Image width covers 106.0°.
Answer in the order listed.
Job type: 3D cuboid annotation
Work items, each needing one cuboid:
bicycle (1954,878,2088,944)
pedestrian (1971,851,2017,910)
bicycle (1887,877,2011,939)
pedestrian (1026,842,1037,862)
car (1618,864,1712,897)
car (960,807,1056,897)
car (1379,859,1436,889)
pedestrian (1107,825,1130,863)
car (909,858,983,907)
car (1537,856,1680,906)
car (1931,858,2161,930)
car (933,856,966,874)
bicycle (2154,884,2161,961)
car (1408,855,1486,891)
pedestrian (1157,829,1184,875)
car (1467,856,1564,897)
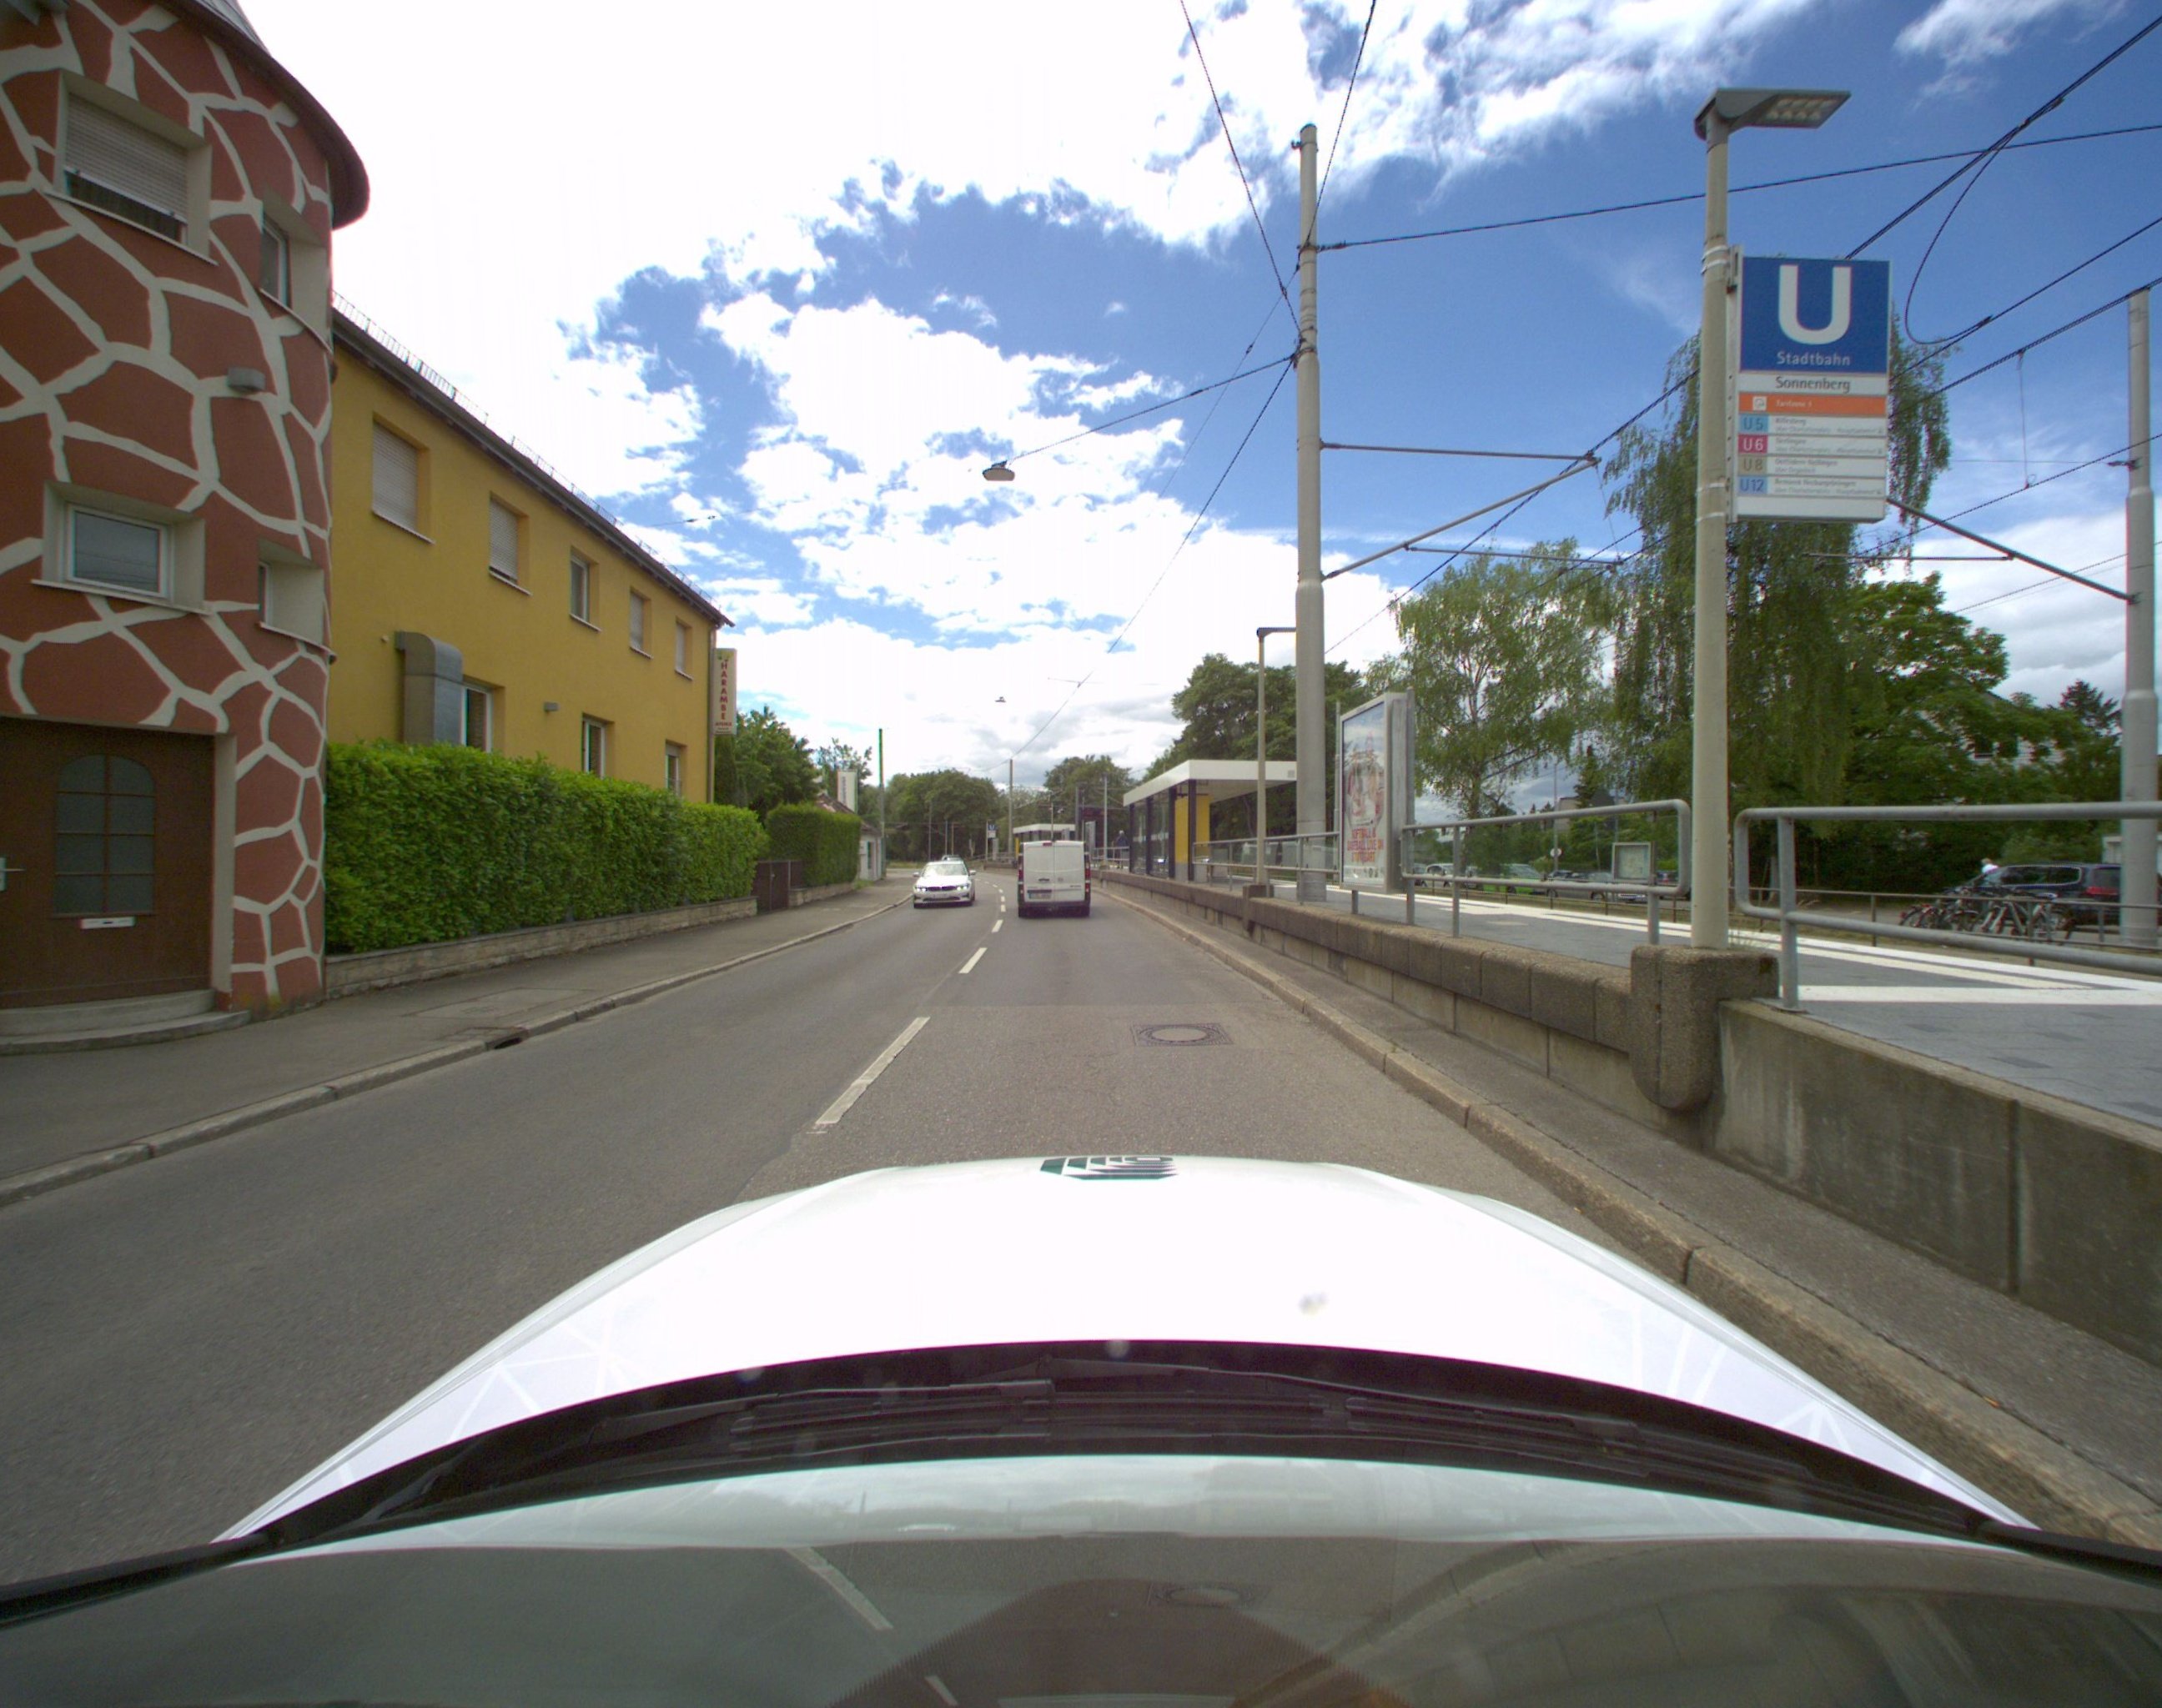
[{"bbox_3d":[15.496,0.933,13.439,1.763,1.042,0.556,1,-1,-6],"label":"bicycle"},{"bbox_3d":[28.111,0.796,25.092,0.817,1.771,0.688,0,-1,37],"label":"pedestrian"},{"bbox_3d":[15.101,0.927,14.175,1.763,1.042,0.555,1,-1,-8],"label":"bicycle"},{"bbox_3d":[-3.624,-0.141,59.550,0.639,1.404,0.761,0,1,-15],"label":"pedestrian"},{"bbox_3d":[28.299,1.253,39.664,1.746,1.488,4.942,0,-1,10],"label":"car"},{"bbox_3d":[-1.854,-0.029,22.428,2.110,2.134,5.439,1,0,0],"label":"car"},{"bbox_3d":[17.360,1.019,43.457,1.830,1.488,4.512,0,0,9],"label":"car"},{"bbox_3d":[1.668,-0.441,35.959,0.885,1.671,0.908,0,0,-6],"label":"pedestrian"},{"bbox_3d":[-4.388,0.874,27.070,1.814,1.419,4.459,-2,0,-2],"label":"car"},{"bbox_3d":[17.949,0.860,27.996,2.058,1.574,4.256,0,0,-3],"label":"car"},{"bbox_3d":[25.067,0.925,21.129,1.803,1.636,4.856,0,0,13],"label":"car"},{"bbox_3d":[-12.328,1.018,76.214,2.362,1.564,4.344,2,-1,-19],"label":"car"},{"bbox_3d":[15.611,0.940,10.872,1.757,1.042,0.557,1,-1,3],"label":"bicycle"},{"bbox_3d":[17.167,0.858,38.414,1.752,1.574,4.096,0,0,-3],"label":"car"},{"bbox_3d":[2.555,-0.047,23.285,0.620,1.299,0.718,0,0,-8],"label":"pedestrian"},{"bbox_3d":[17.692,0.871,33.364,1.726,1.574,3.996,0,0,-3],"label":"car"}]
